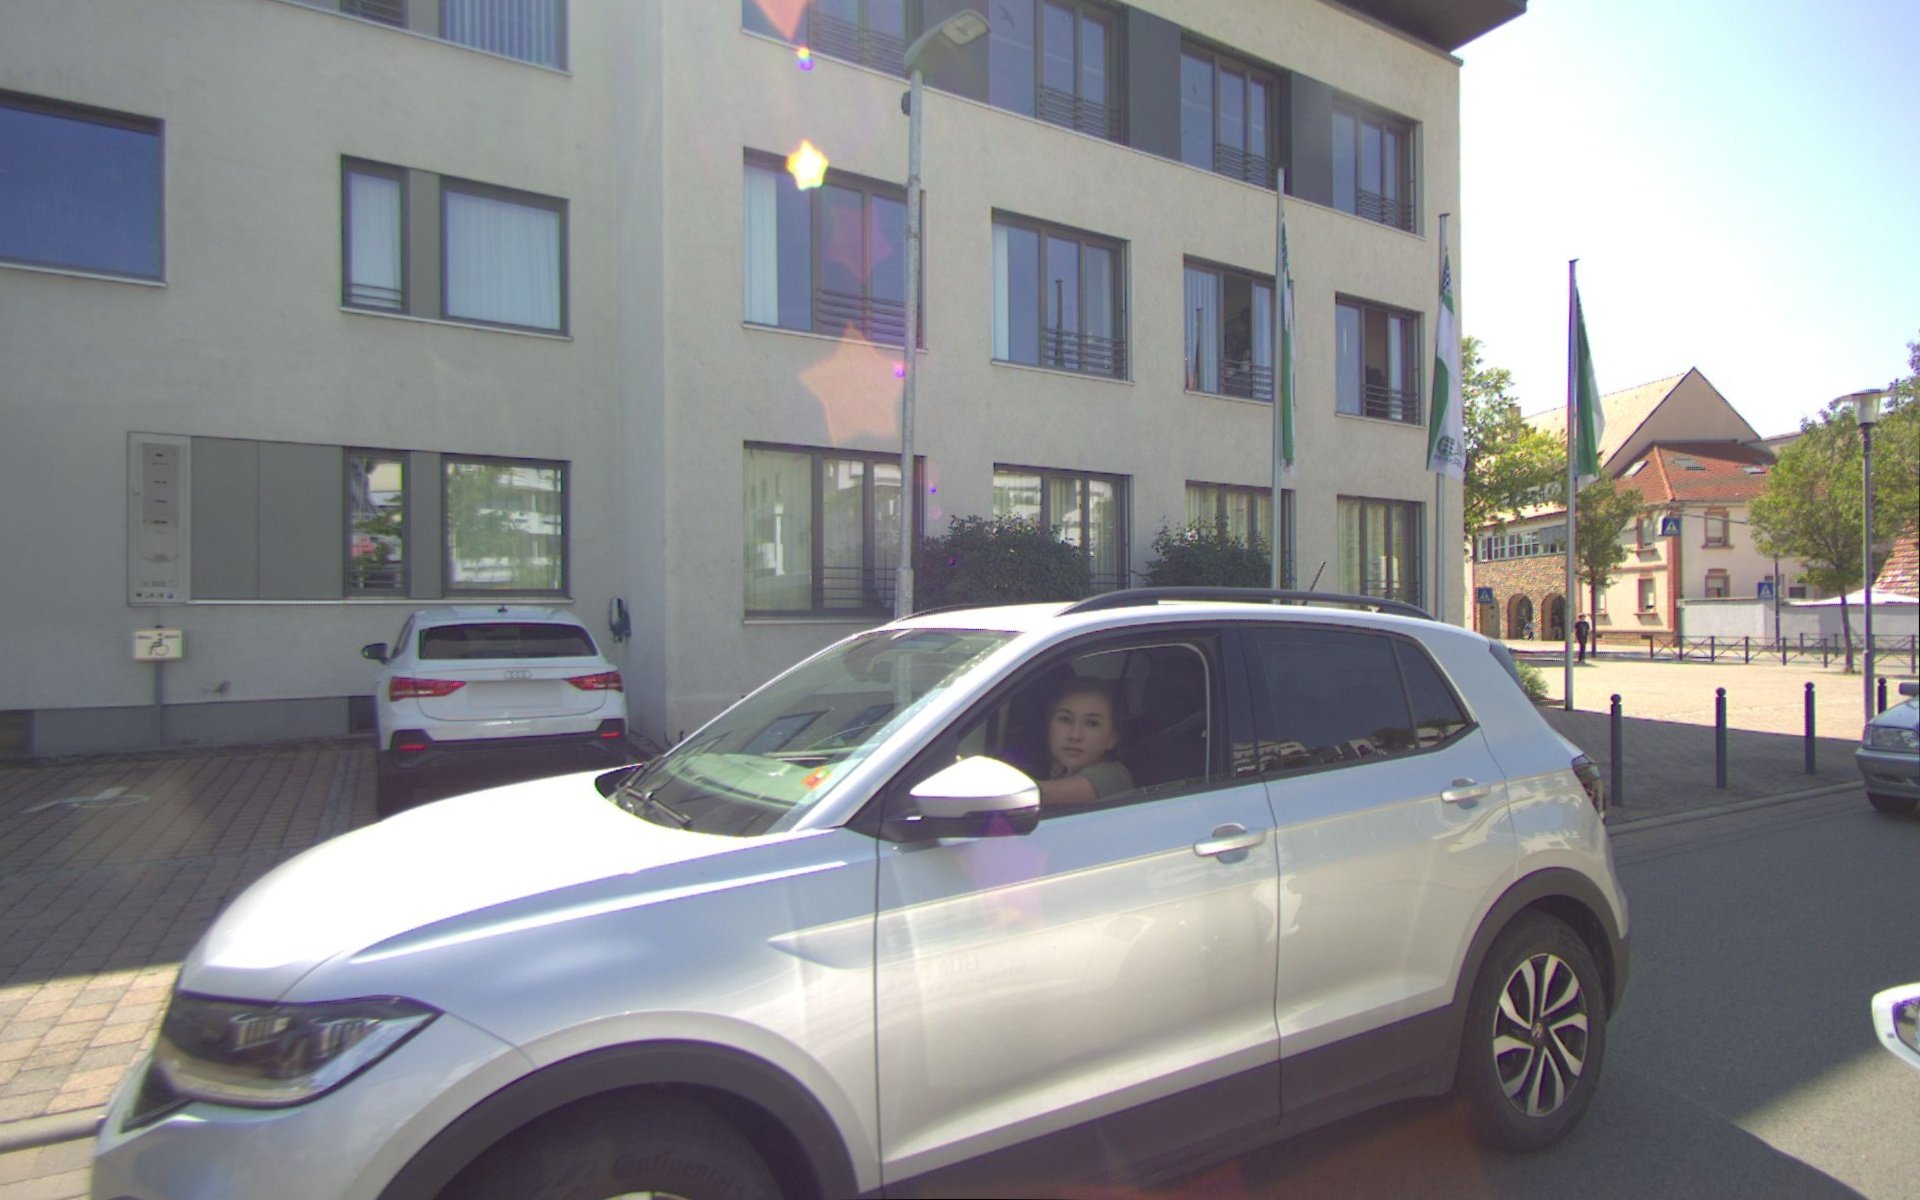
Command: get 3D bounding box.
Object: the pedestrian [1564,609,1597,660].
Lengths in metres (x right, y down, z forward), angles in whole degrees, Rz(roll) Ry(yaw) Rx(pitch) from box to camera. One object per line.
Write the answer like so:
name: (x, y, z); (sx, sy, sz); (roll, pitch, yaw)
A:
pedestrian: (20.914, 1.161, 33.874); (0.799, 1.676, 0.851); (0, -1, 20)

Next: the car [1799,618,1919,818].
car: (9.122, 0.894, 8.379); (4.384, 1.483, 1.872); (1, -4, -31)

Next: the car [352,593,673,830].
car: (-4.258, 0.756, 9.169); (2.123, 1.575, 4.484); (1, 0, -30)

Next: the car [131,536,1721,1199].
car: (0.242, 0.745, 3.054); (3.950, 1.594, 1.844); (0, -1, -29)
